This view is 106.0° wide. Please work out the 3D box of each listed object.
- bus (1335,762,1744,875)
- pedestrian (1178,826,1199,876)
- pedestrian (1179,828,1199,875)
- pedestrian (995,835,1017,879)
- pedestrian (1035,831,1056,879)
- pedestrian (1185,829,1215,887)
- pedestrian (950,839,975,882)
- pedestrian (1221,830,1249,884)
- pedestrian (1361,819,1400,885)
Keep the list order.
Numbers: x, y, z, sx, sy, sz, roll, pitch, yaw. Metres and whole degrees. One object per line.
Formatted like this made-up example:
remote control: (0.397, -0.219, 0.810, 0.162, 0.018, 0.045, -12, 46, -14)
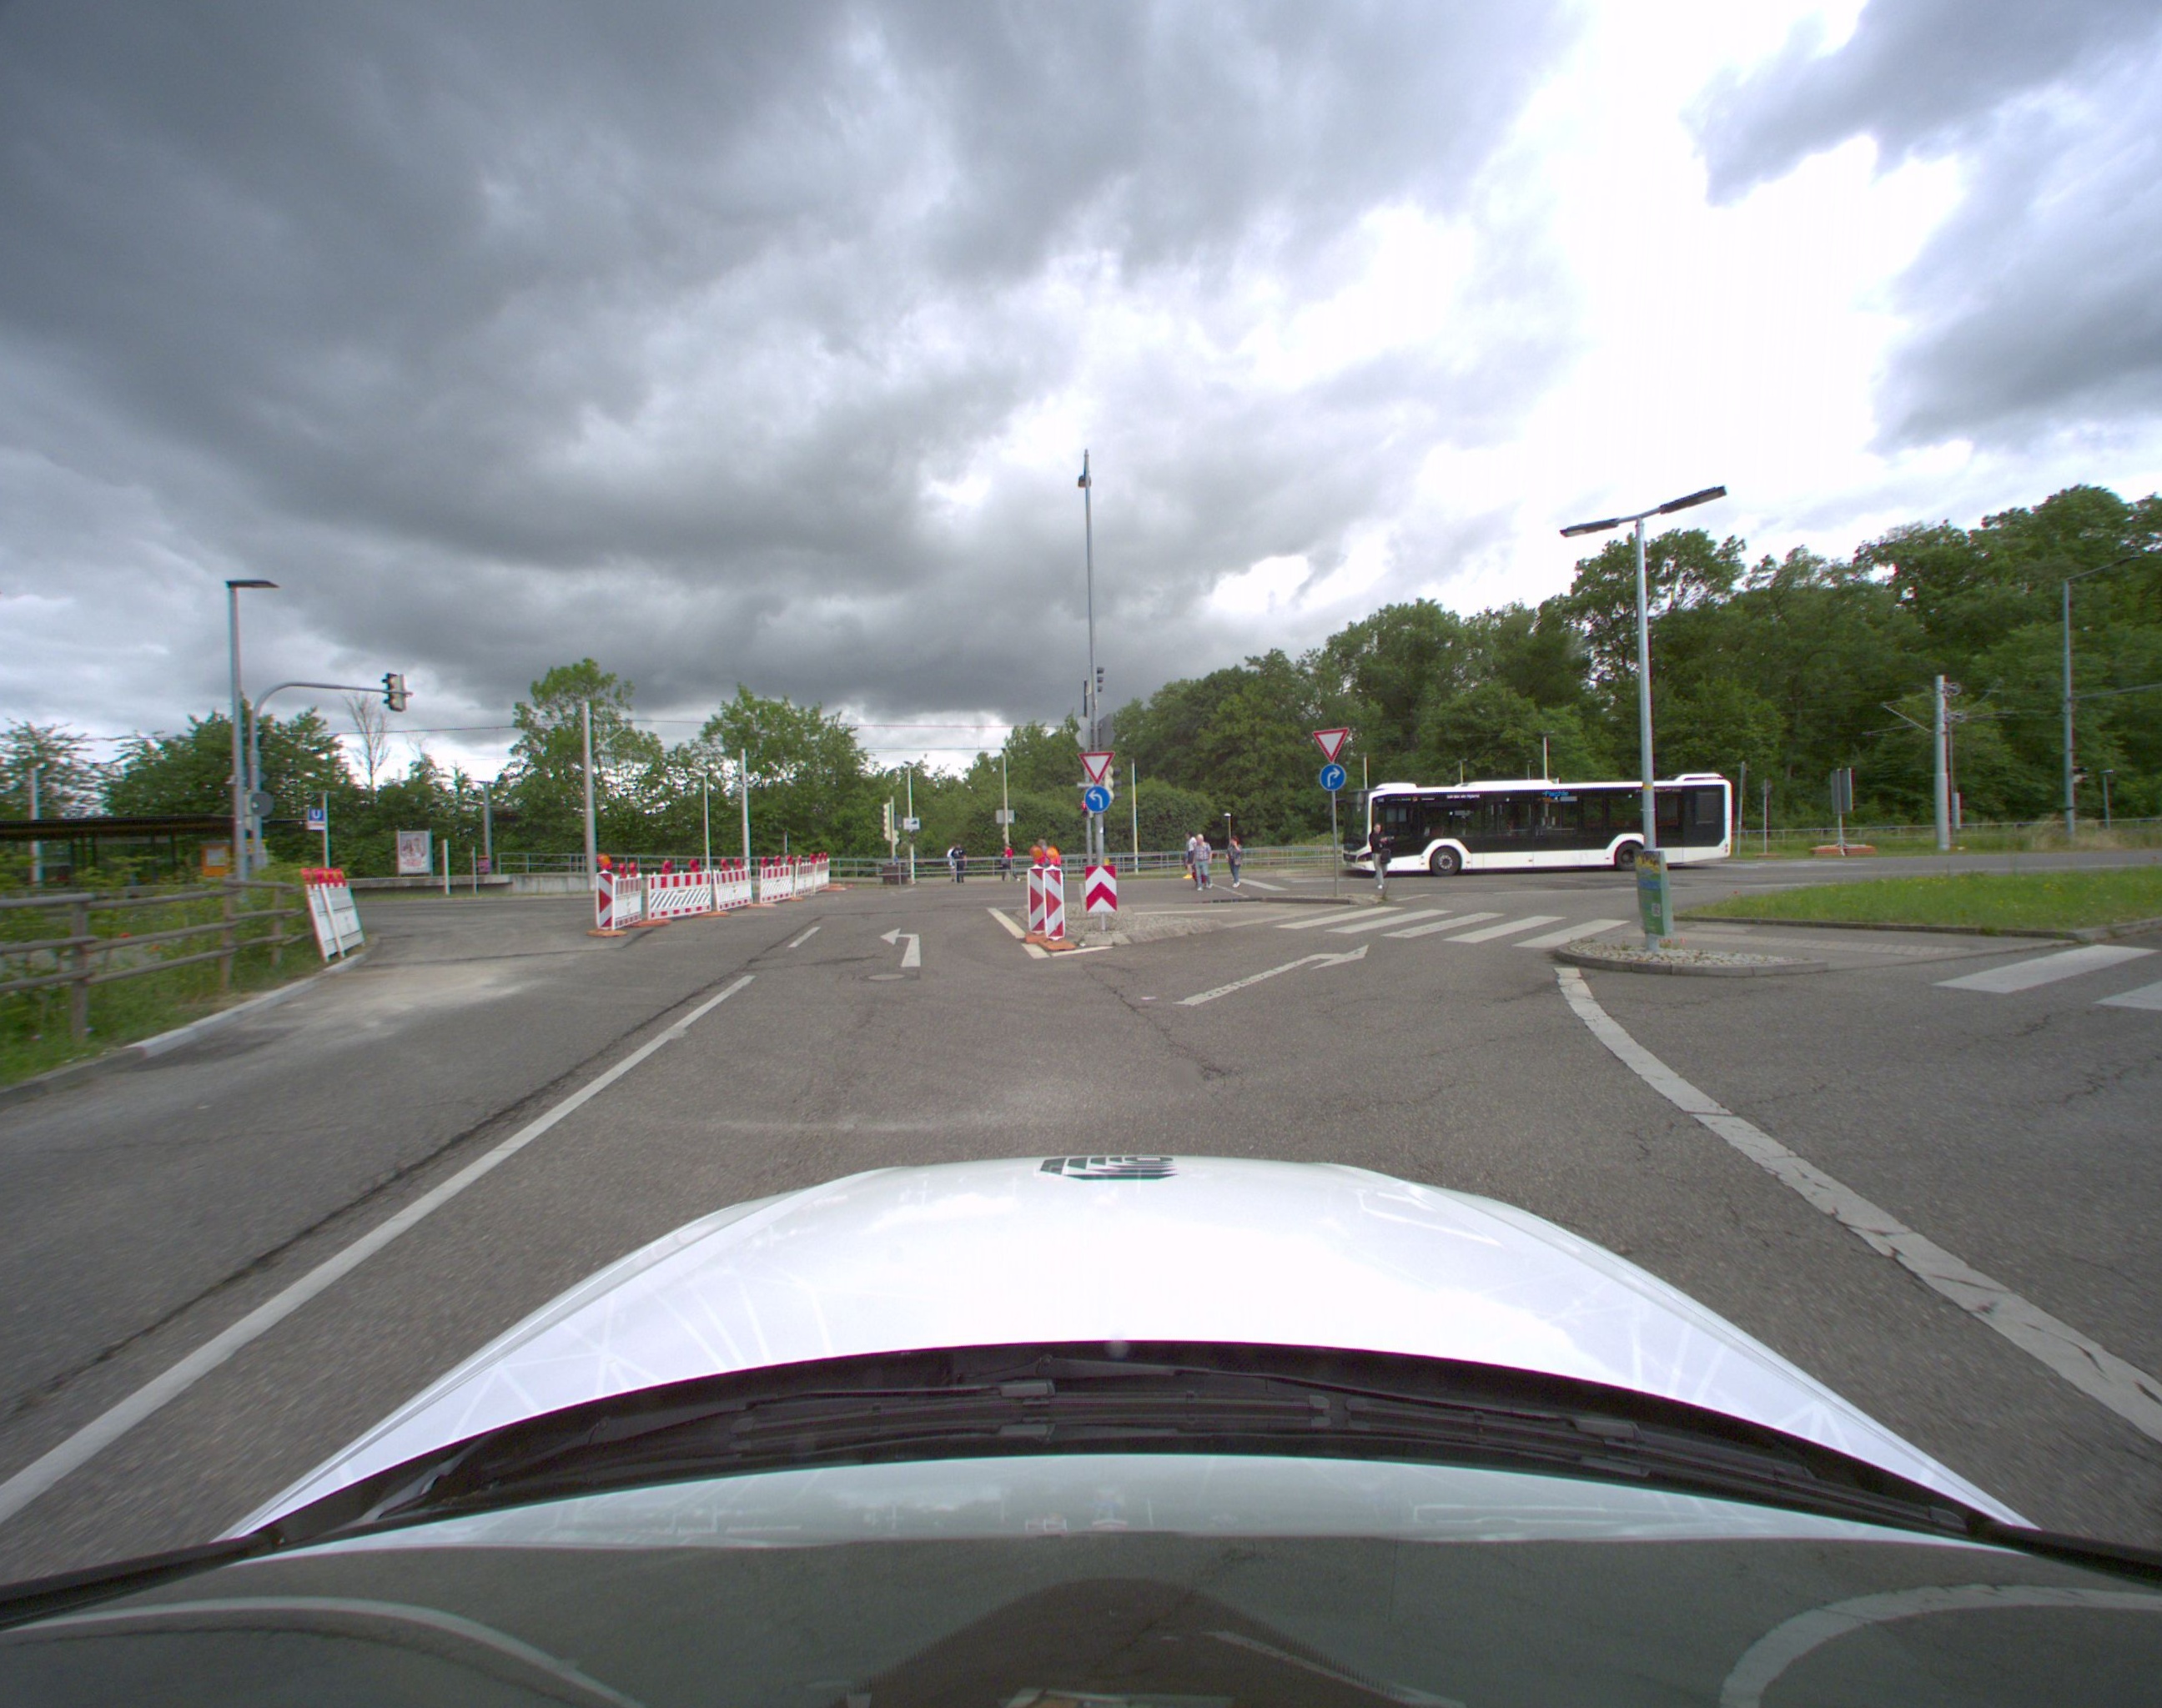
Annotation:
bus: (14.995, -1.152, 27.209, 12.119, 3.202, 2.675, -2, 1, 0)
pedestrian: (3.888, -0.114, 29.501, 0.716, 1.747, 0.959, -1, 1, 6)
pedestrian: (4.084, -0.109, 30.881, 0.716, 1.747, 0.959, -1, 1, 6)
pedestrian: (-2.825, 0.096, 30.836, 0.718, 1.621, 0.805, -1, 1, 0)
pedestrian: (-1.333, 0.020, 30.611, 0.718, 1.747, 0.957, -1, 1, 0)
pedestrian: (3.455, 0.116, 23.614, 0.691, 1.633, 0.726, -1, 1, 19)
pedestrian: (-4.920, 0.273, 33.768, 0.953, 1.747, 0.721, -1, 1, -6)
pedestrian: (4.615, 0.083, 24.345, 0.684, 1.567, 0.736, -1, 1, 19)
pedestrian: (8.097, -0.062, 22.042, 0.946, 1.747, 1.067, -1, 1, 19)
